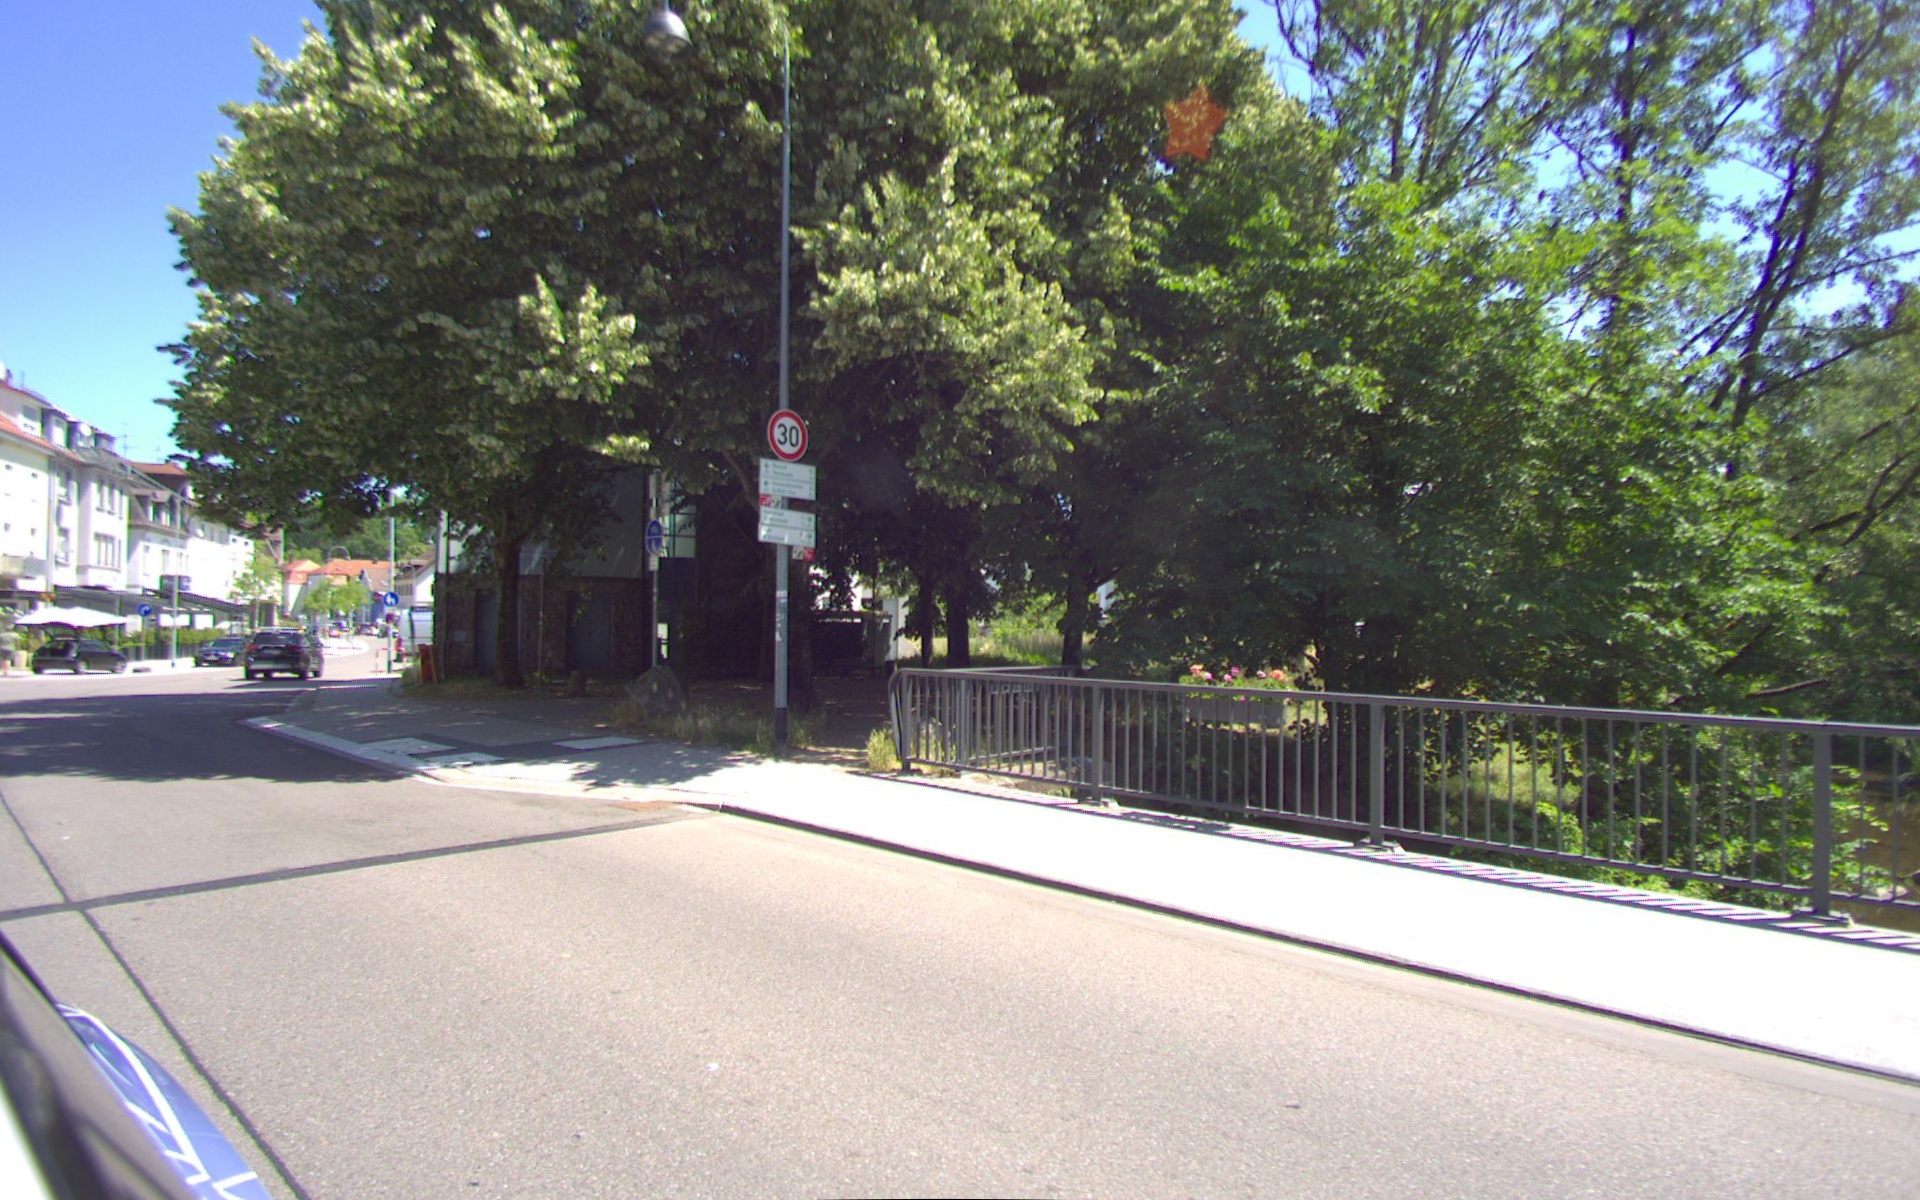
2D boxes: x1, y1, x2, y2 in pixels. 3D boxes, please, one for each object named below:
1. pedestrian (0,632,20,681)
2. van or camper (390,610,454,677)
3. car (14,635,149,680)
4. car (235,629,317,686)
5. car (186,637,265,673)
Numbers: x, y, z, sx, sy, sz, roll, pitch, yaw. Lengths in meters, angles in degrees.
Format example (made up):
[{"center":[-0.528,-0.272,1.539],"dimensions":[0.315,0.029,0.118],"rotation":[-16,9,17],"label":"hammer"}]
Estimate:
[{"center":[-35.730,2.095,37.721],"dimensions":[0.802,1.768,0.637],"rotation":[3,-2,-26],"label":"pedestrian"},{"center":[-24.373,1.887,46.005],"dimensions":[1.965,2.826,5.054],"rotation":[-2,0,-22],"label":"van or camper"},{"center":[-35.363,2.343,40.898],"dimensions":[1.971,1.729,4.000],"rotation":[1,-4,-1],"label":"car"},{"center":[-23.691,1.976,35.187],"dimensions":[1.966,1.855,4.012],"rotation":[1,-4,-29],"label":"car"},{"center":[-37.337,2.813,51.557],"dimensions":[1.966,1.729,4.011],"rotation":[2,-4,-17],"label":"car"}]
